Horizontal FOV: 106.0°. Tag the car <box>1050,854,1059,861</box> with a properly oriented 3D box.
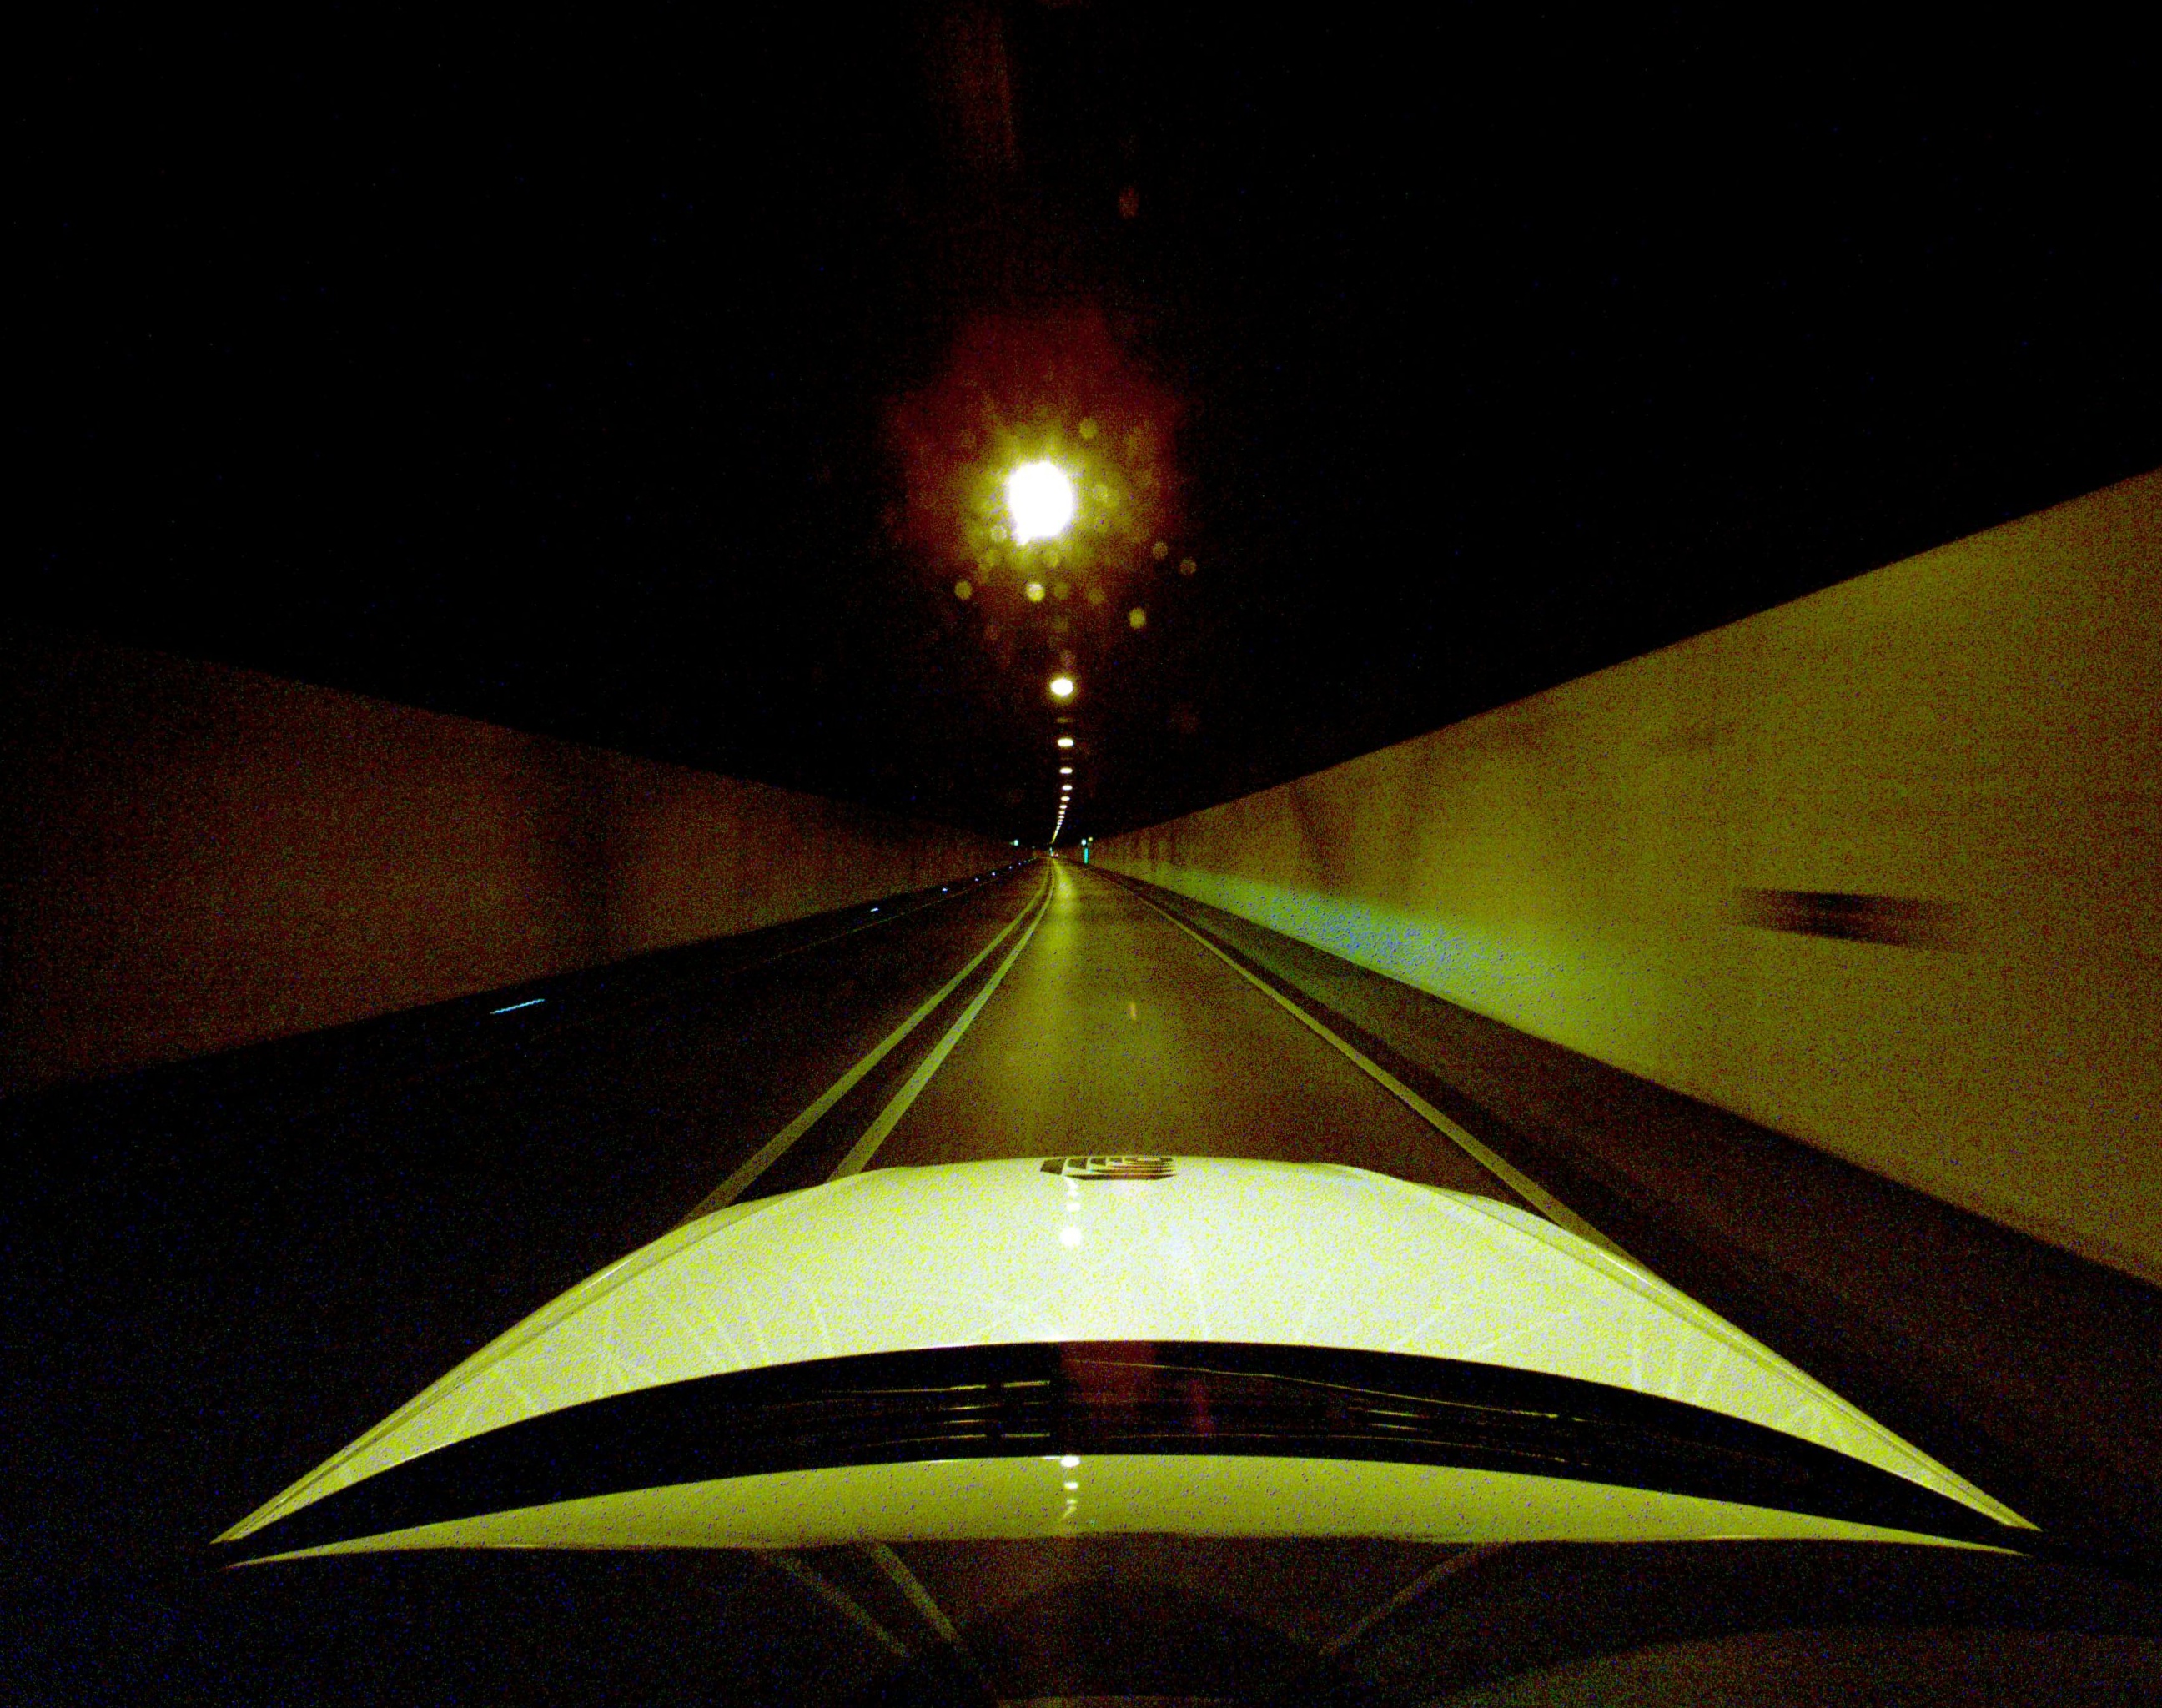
[{"bbox_3d":[-7.198,1.025,222.257,1.965,1.939,4.601,1,-1,-7],"label":"car"}]
